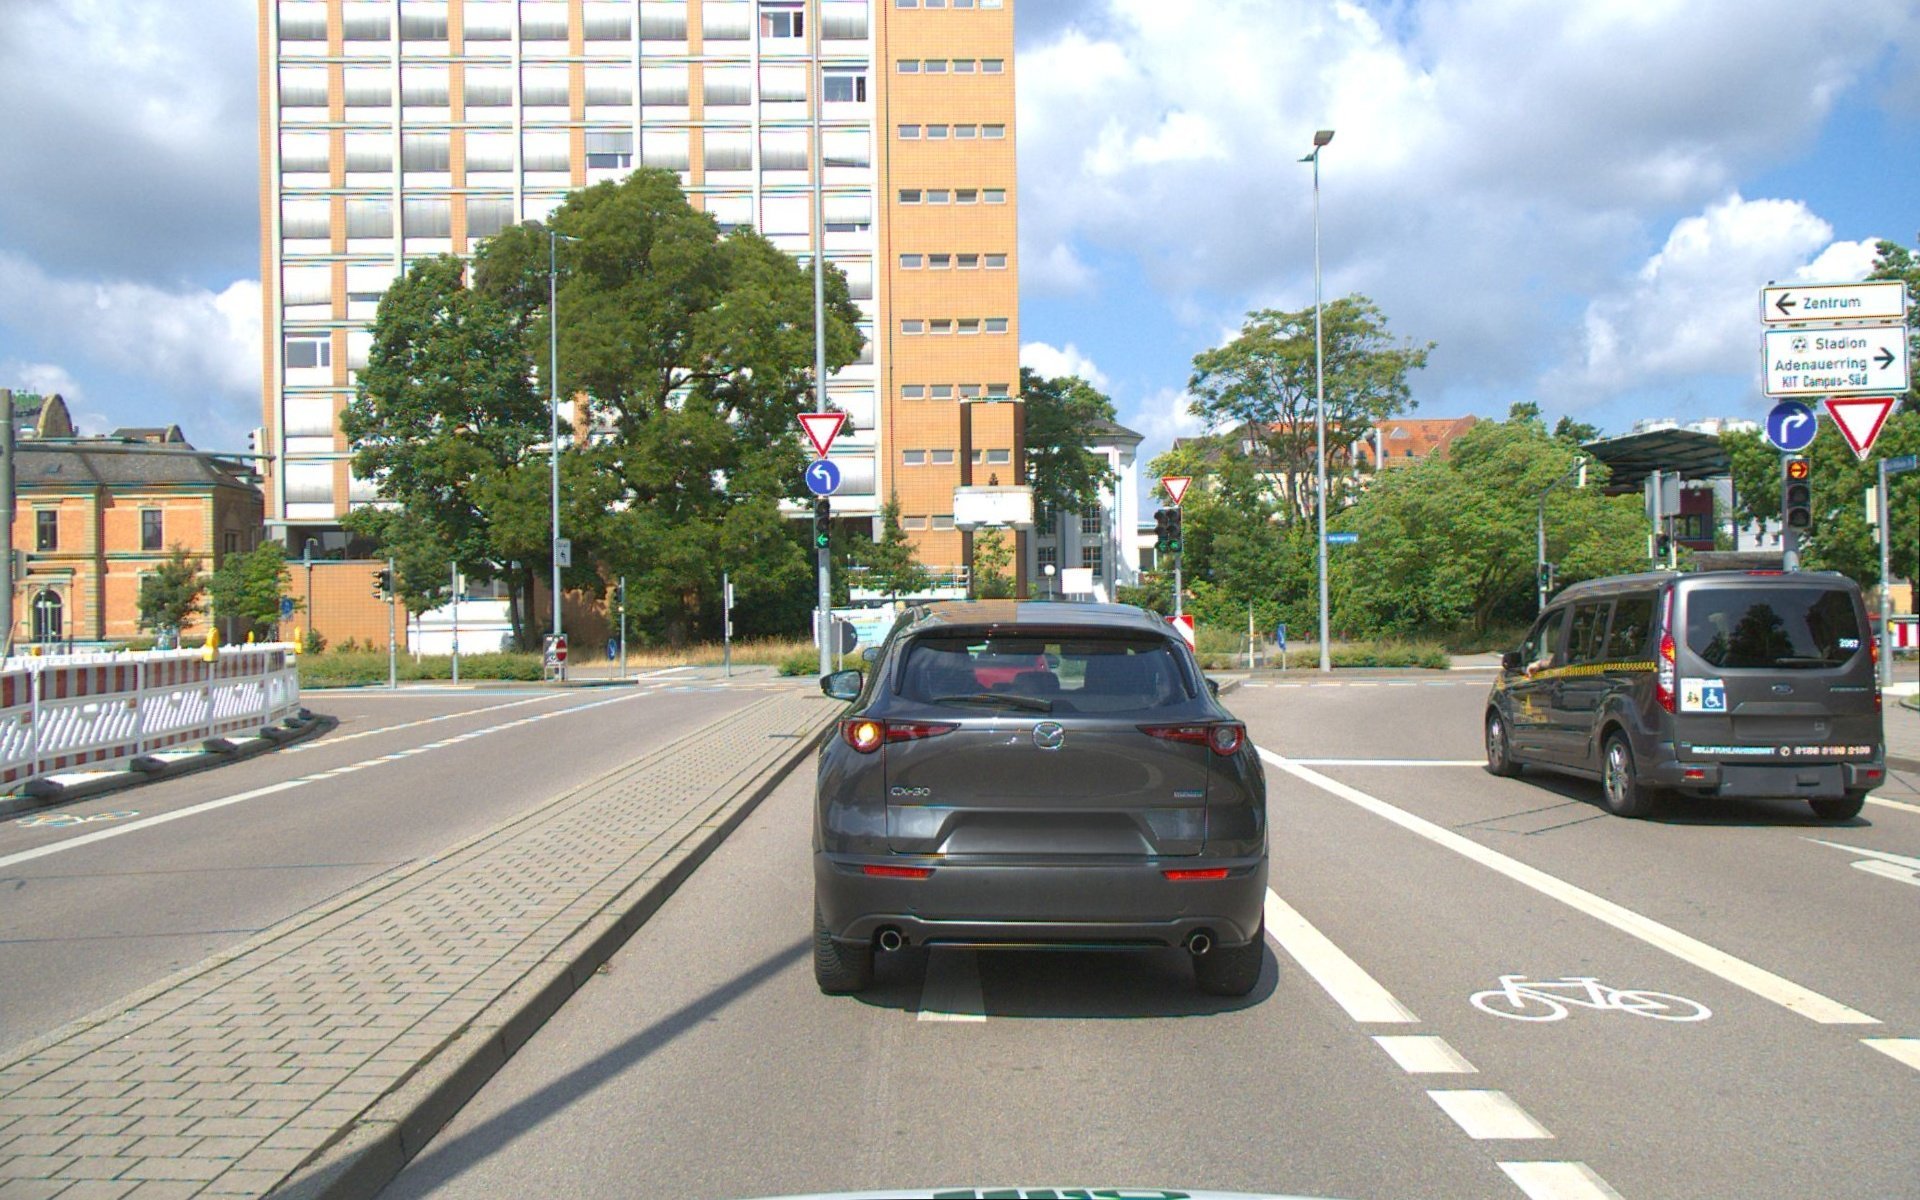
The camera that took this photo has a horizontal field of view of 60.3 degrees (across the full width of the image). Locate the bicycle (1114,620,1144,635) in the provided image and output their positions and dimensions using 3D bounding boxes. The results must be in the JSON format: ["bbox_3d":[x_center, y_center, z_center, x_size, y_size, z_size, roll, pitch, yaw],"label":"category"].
[{"bbox_3d":[11.767,1.916,115.249,2.013,0.953,0.804,-1,-1,-2],"label":"bicycle"}]

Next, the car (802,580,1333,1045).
[{"bbox_3d":[0.340,0.739,7.715,1.769,1.534,4.204,1,0,-1],"label":"car"}]

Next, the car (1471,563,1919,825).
[{"bbox_3d":[5.858,0.667,13.866,1.810,1.816,4.672,0,0,1],"label":"car"}]

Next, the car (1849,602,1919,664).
[{"bbox_3d":[25.185,0.802,41.400,4.664,1.467,2.063,-1,-3,4],"label":"car"}]

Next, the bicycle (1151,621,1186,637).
[{"bbox_3d":[12.750,1.774,101.043,2.013,0.953,0.804,-1,-1,-2],"label":"bicycle"}]

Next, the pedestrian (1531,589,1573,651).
[{"bbox_3d":[18.474,0.643,51.607,0.684,1.890,1.177,-1,-2,-11],"label":"pedestrian"}]

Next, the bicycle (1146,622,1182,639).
[{"bbox_3d":[12.129,1.829,98.203,2.013,0.953,0.804,-1,-1,-2],"label":"bicycle"}]

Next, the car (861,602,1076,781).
[{"bbox_3d":[0.128,0.788,15.870,1.778,1.465,4.068,1,-1,2],"label":"car"}]

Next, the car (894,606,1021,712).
[{"bbox_3d":[-0.023,0.881,26.318,1.810,1.498,4.335,-1,-1,0],"label":"car"}]

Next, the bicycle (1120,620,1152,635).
[{"bbox_3d":[11.723,1.862,110.390,2.013,0.953,0.804,-1,-1,-2],"label":"bicycle"}]

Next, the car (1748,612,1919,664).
[{"bbox_3d":[25.765,1.095,48.786,4.061,1.401,2.000,-1,0,1],"label":"car"}]

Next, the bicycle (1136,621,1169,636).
[{"bbox_3d":[12.277,1.817,105.635,2.013,0.953,0.804,-1,-1,-2],"label":"bicycle"}]
